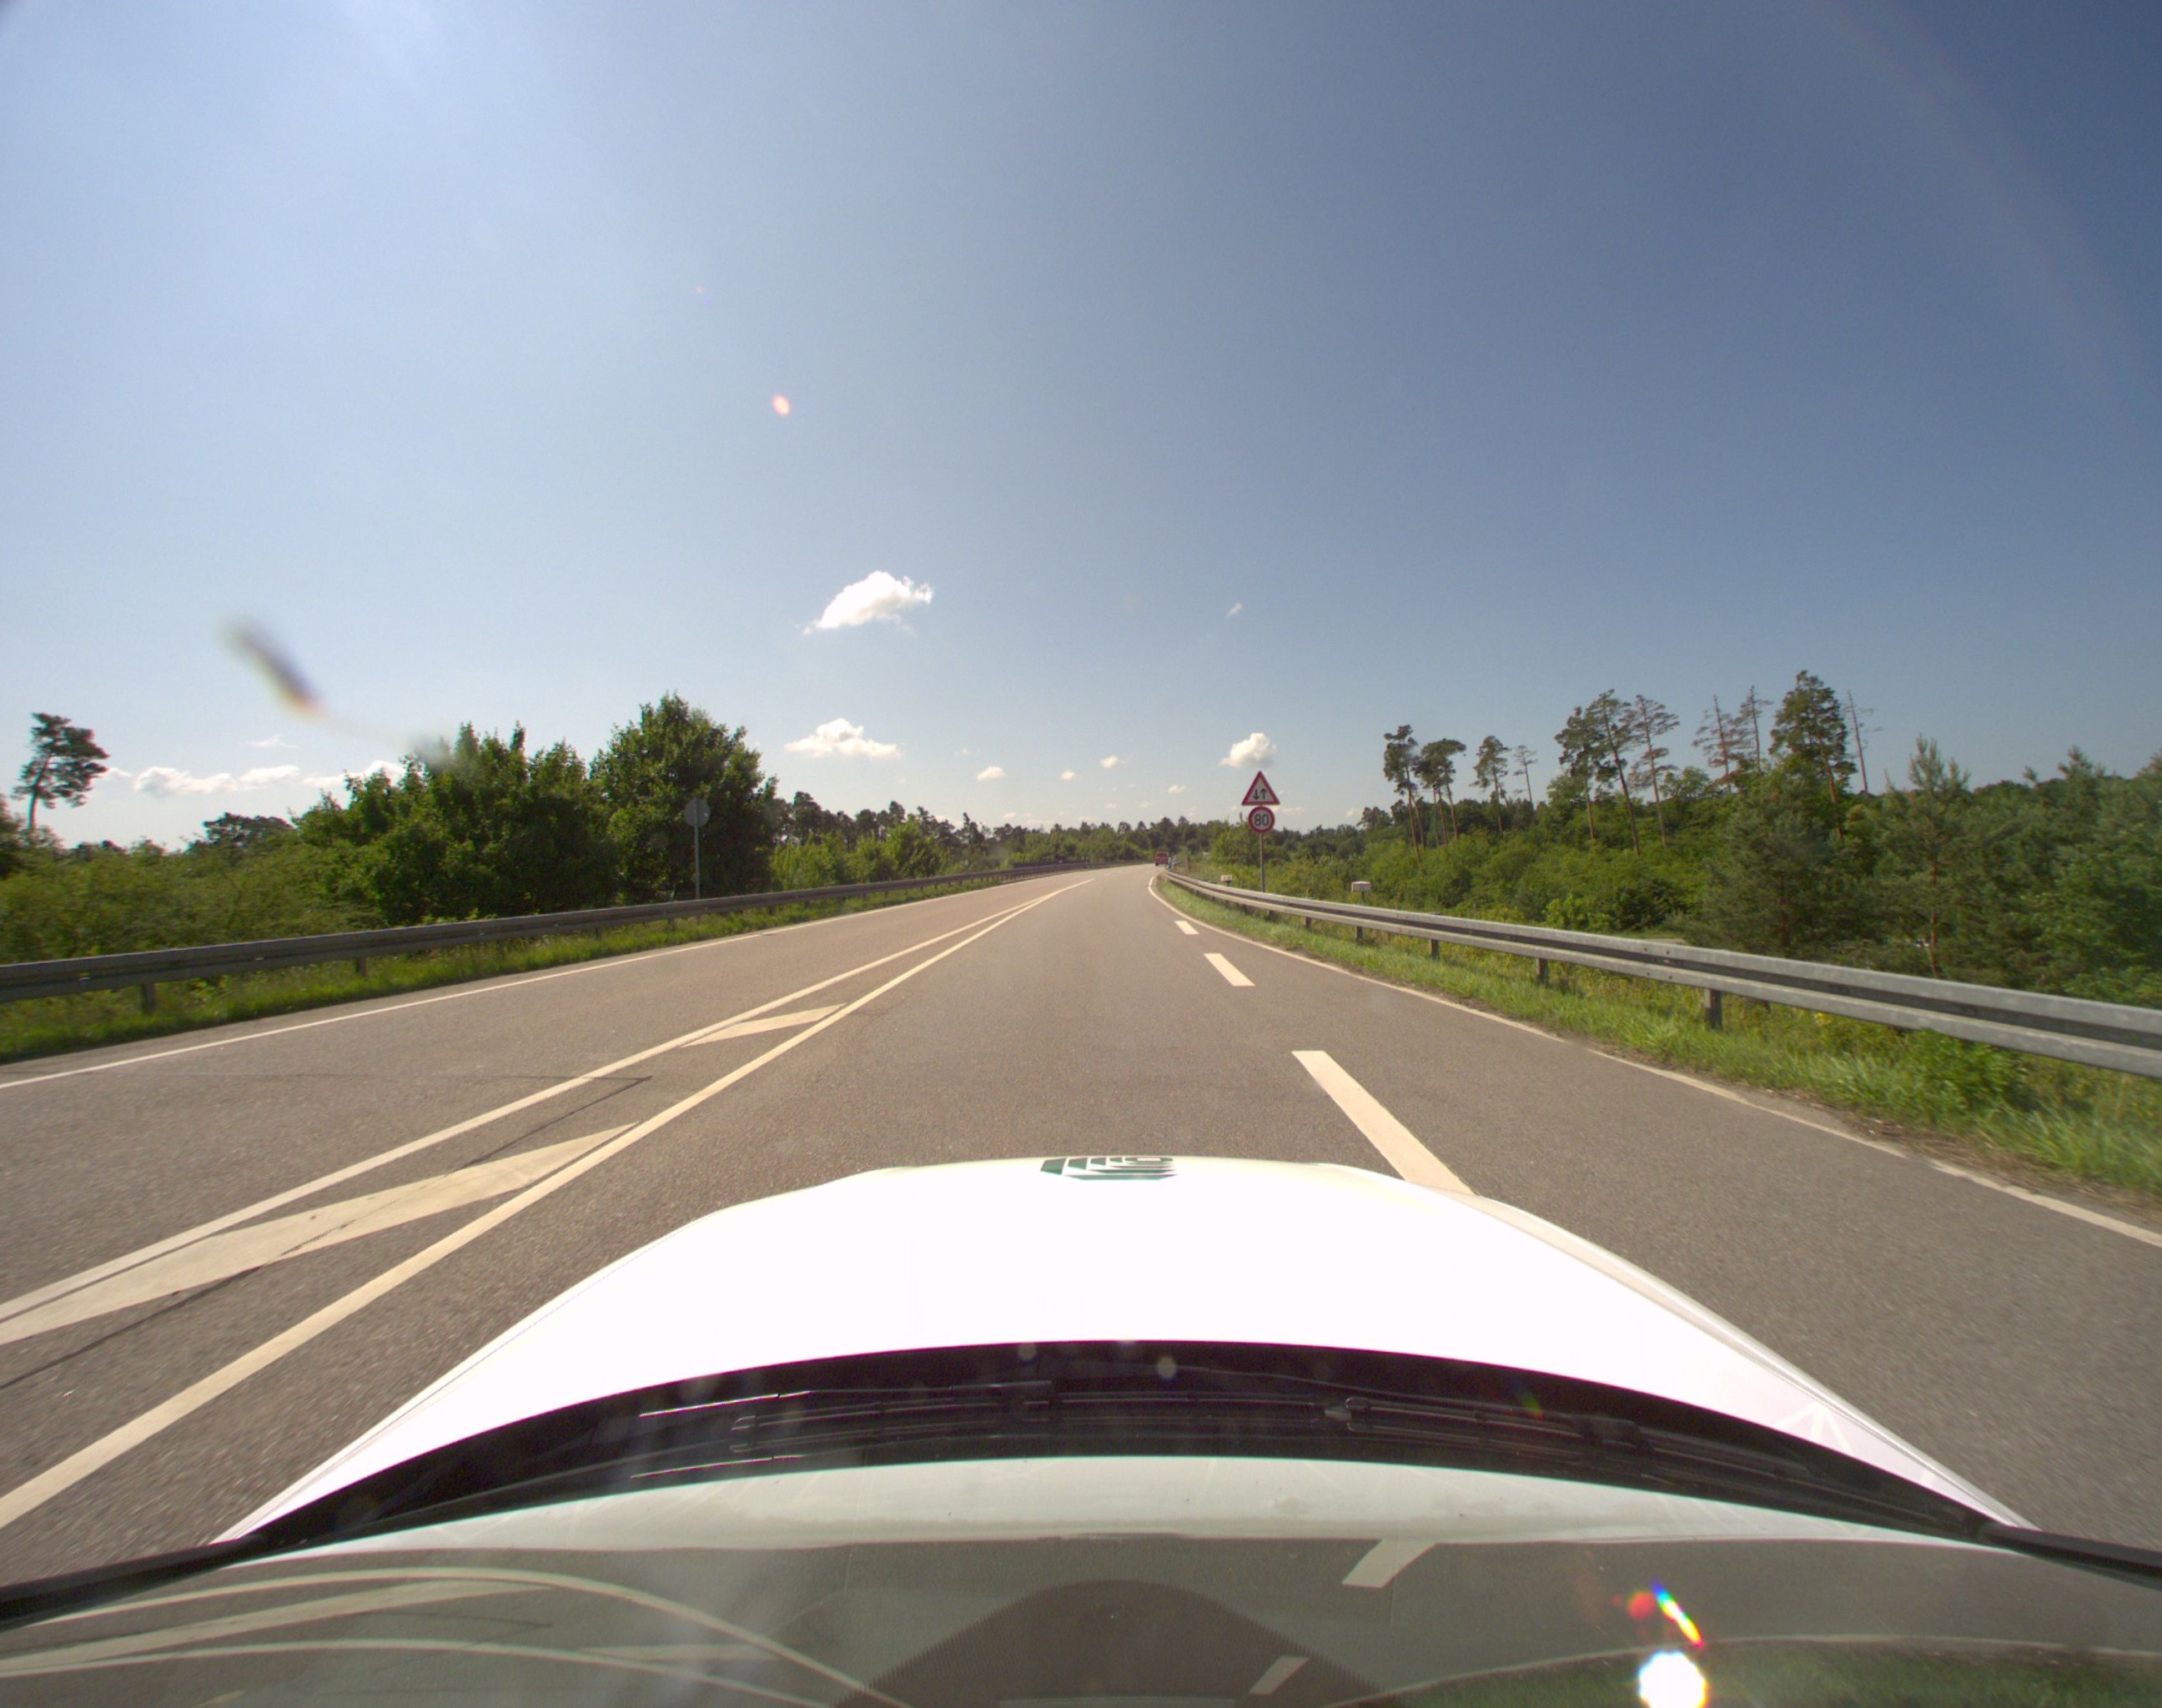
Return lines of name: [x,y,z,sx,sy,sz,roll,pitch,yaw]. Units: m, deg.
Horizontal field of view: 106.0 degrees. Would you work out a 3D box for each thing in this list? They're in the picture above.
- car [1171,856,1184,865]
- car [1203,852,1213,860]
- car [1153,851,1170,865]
car: [16.072,1.050,136.048,1.996,1.494,4.248,0,-1,8]
car: [30.257,0.439,193.366,2.171,1.955,5.821,-1,0,10]
car: [11.347,0.566,114.474,2.065,1.993,5.123,0,-1,8]
